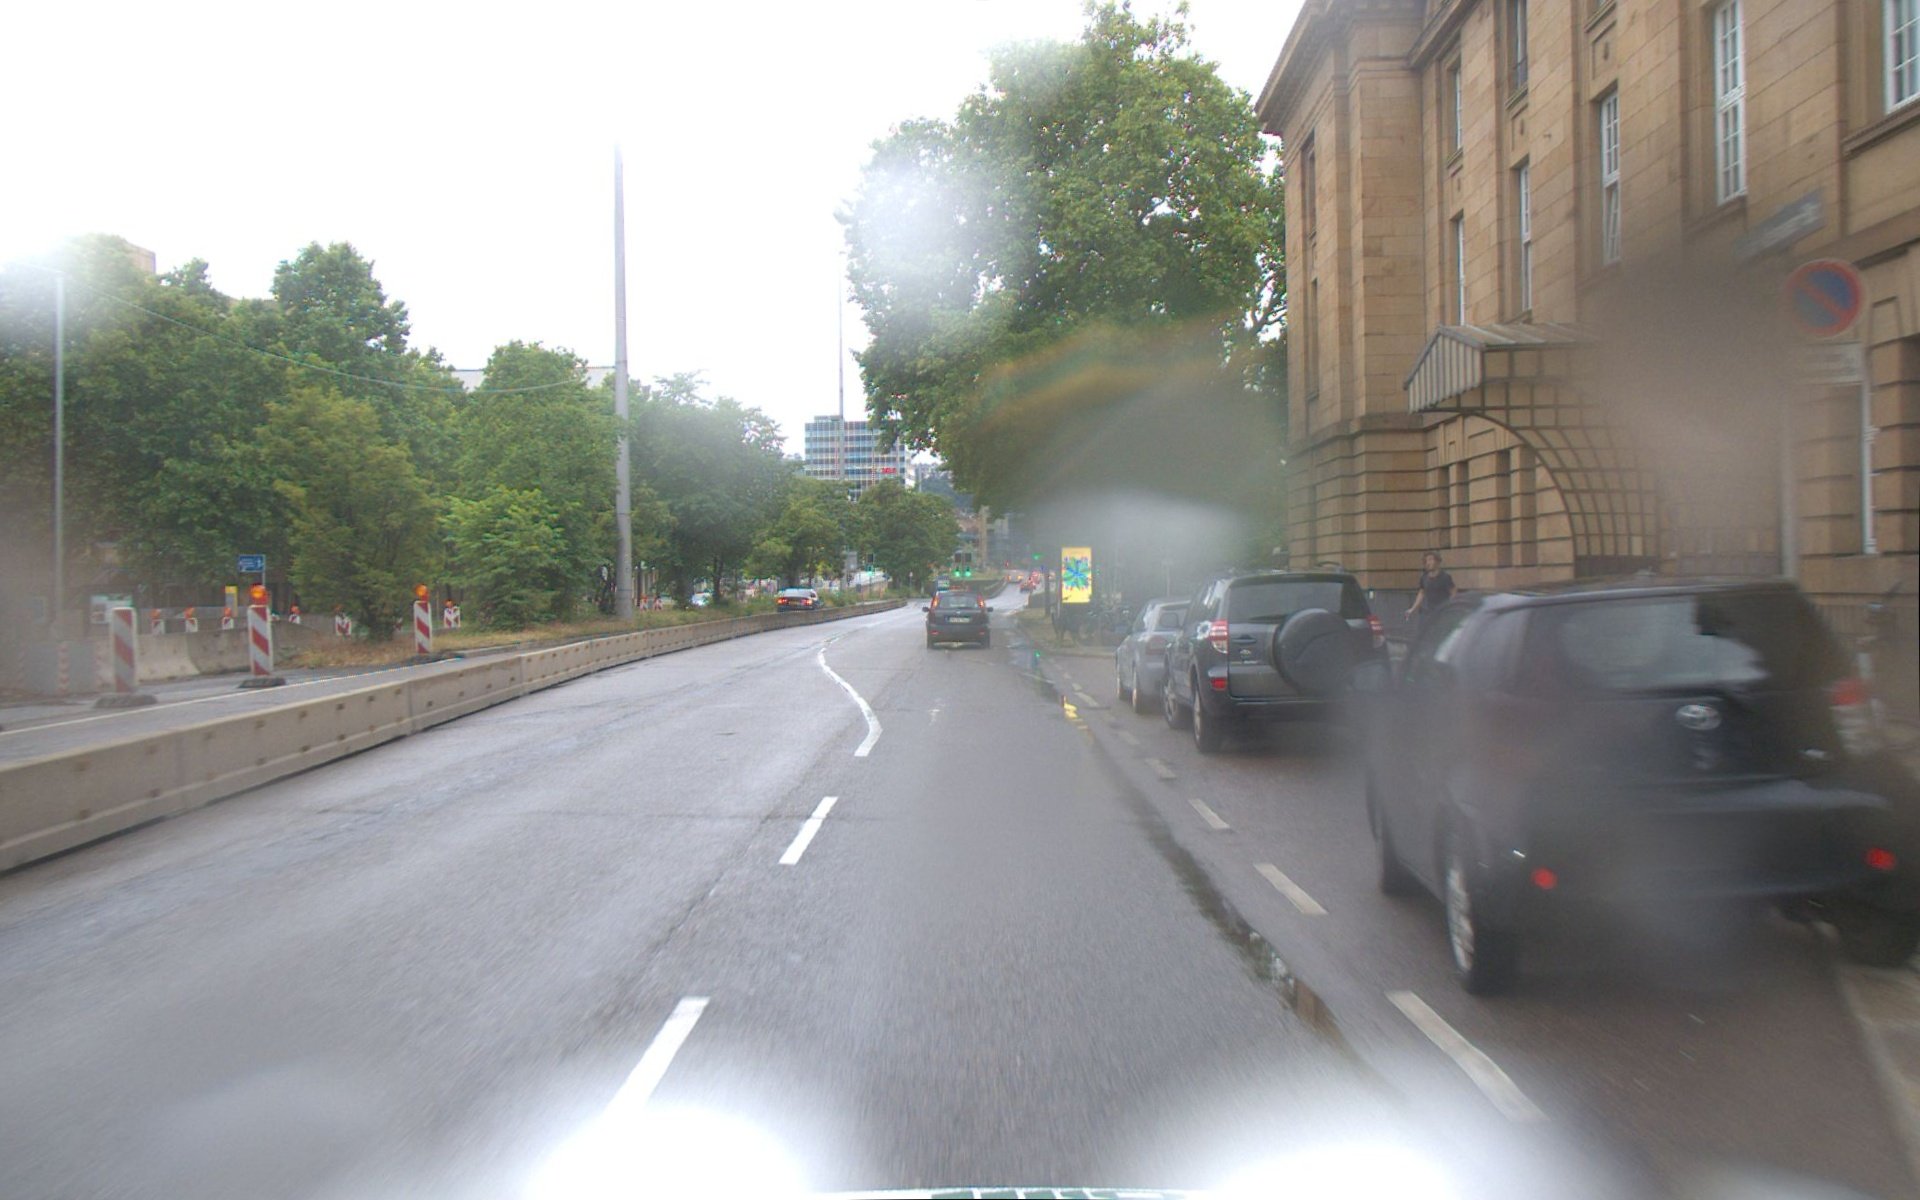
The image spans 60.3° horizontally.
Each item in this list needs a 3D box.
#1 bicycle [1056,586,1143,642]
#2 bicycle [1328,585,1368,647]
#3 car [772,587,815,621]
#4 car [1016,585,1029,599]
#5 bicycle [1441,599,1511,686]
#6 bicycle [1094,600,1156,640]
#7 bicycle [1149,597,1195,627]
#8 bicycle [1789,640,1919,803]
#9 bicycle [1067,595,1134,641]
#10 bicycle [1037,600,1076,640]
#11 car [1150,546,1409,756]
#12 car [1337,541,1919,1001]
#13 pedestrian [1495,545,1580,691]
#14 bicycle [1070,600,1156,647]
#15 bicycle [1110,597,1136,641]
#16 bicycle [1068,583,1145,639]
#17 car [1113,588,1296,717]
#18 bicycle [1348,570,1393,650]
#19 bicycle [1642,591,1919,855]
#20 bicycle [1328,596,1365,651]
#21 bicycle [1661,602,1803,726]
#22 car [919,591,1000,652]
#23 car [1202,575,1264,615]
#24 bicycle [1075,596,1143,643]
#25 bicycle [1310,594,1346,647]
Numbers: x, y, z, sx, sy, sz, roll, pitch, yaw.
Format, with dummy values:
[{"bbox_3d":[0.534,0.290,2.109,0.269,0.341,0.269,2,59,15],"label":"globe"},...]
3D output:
[{"bbox_3d":[3.500,0.347,41.527,2.145,1.360,0.651,0,0,3],"label":"bicycle"},{"bbox_3d":[8.173,0.318,34.853,0.444,1.273,1.599,1,0,-1],"label":"bicycle"},{"bbox_3d":[-7.622,0.177,75.970,1.719,1.477,3.997,-2,0,-3],"label":"car"},{"bbox_3d":[8.883,-1.086,233.303,1.702,1.802,4.001,-3,-1,3],"label":"car"},{"bbox_3d":[7.568,0.604,24.309,0.454,1.236,1.691,0,0,-1],"label":"bicycle"},{"bbox_3d":[4.235,0.503,42.410,1.556,1.012,0.525,0,0,3],"label":"bicycle"},{"bbox_3d":[7.565,0.436,58.985,1.606,1.038,0.575,1,0,6],"label":"bicycle"},{"bbox_3d":[6.831,0.844,11.959,0.698,1.070,1.739,0,0,-4],"label":"bicycle"},{"bbox_3d":[3.530,0.457,41.685,1.644,1.142,0.602,0,0,3],"label":"bicycle"},{"bbox_3d":[2.496,0.504,42.570,0.655,0.984,1.638,0,0,16],"label":"bicycle"},{"bbox_3d":[3.019,0.451,16.495,1.952,1.812,4.190,-1,0,3],"label":"car"},{"bbox_3d":[2.744,0.575,7.097,1.722,1.438,3.154,-4,-1,6],"label":"car"},{"bbox_3d":[7.468,0.233,21.410,0.779,1.808,0.642,-4,0,1],"label":"pedestrian"},{"bbox_3d":[3.587,0.555,38.860,1.945,1.078,0.759,0,0,-2],"label":"bicycle"},{"bbox_3d":[4.665,0.527,47.135,0.592,1.218,1.906,-3,-1,8],"label":"bicycle"},{"bbox_3d":[3.628,0.263,40.960,1.866,1.356,0.651,0,0,3],"label":"bicycle"},{"bbox_3d":[3.072,0.630,21.471,1.891,1.504,3.703,-1,0,1],"label":"car"},{"bbox_3d":[8.133,0.189,32.786,0.444,1.542,1.599,1,0,-1],"label":"bicycle"},{"bbox_3d":[4.638,0.591,8.974,0.761,1.240,1.961,-2,0,-10],"label":"bicycle"},{"bbox_3d":[7.962,0.475,34.117,0.345,1.099,1.789,0,0,0],"label":"bicycle"},{"bbox_3d":[6.957,0.547,14.983,0.571,1.056,1.760,-1,0,4],"label":"bicycle"},{"bbox_3d":[-0.056,0.550,42.619,1.807,1.441,3.836,-2,-1,-4],"label":"car"},{"bbox_3d":[12.167,-0.261,73.980,1.952,1.637,5.237,0,2,0],"label":"car"},{"bbox_3d":[3.632,0.471,40.381,1.644,1.109,0.651,0,0,3],"label":"bicycle"},{"bbox_3d":[7.945,0.449,35.735,0.345,1.099,1.789,-2,-1,0],"label":"bicycle"}]
